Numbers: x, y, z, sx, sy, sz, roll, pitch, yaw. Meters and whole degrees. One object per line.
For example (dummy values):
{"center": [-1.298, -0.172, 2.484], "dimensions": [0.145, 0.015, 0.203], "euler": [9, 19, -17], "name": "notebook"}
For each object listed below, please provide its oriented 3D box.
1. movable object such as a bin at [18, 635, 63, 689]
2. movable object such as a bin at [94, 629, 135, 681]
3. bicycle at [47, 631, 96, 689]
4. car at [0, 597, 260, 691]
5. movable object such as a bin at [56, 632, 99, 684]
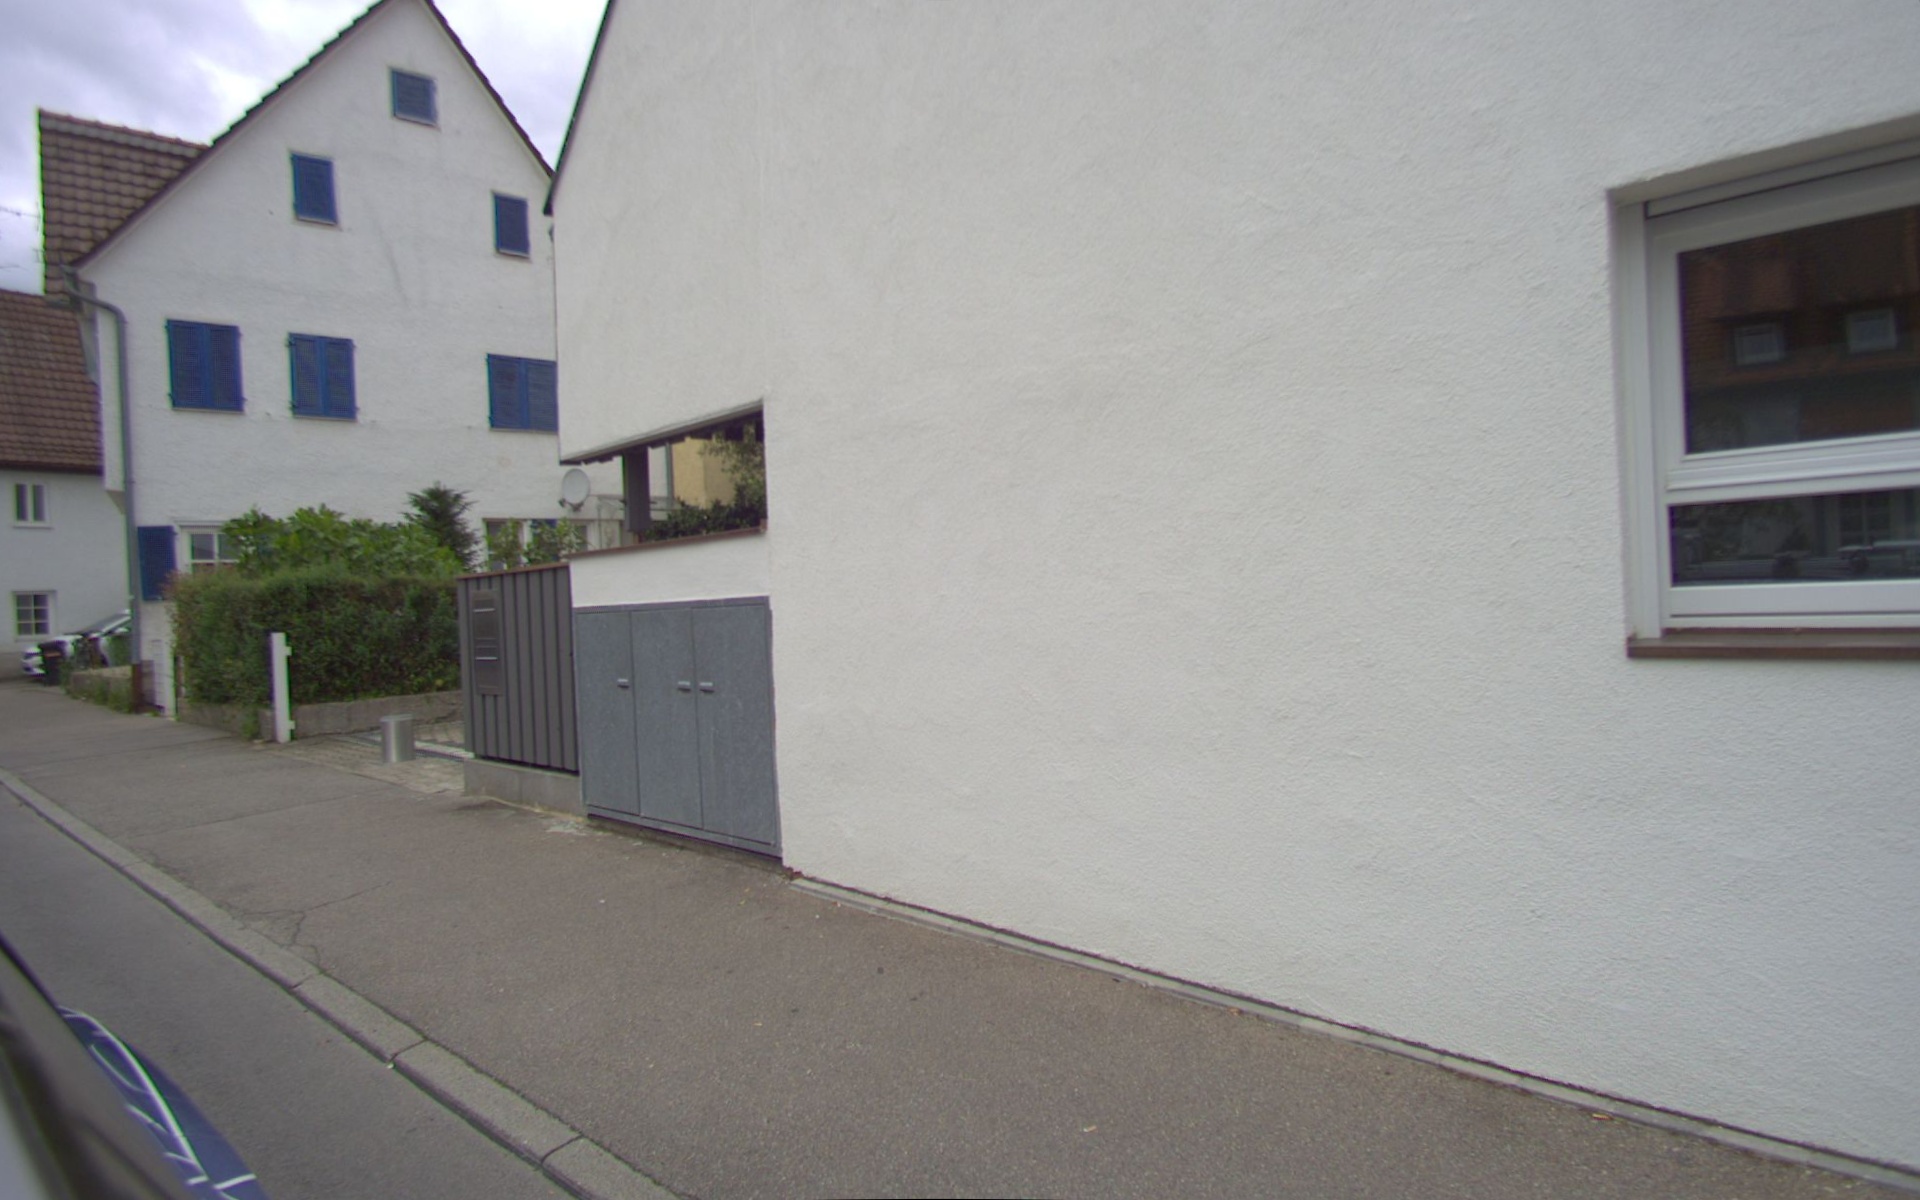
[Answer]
{"center": [-18.644, 1.256, 20.530], "dimensions": [0.546, 1.007, 0.587], "euler": [-8, 2, -39], "name": "movable object such as a bin"}
{"center": [-17.902, 1.149, 21.429], "dimensions": [0.549, 1.007, 0.623], "euler": [-10, 4, -40], "name": "movable object such as a bin"}
{"center": [-17.503, 1.161, 19.964], "dimensions": [0.437, 1.046, 2.097], "euler": [-7, 3, -36], "name": "bicycle"}
{"center": [-19.734, 0.940, 24.133], "dimensions": [1.973, 1.510, 4.502], "euler": [1, 7, 34], "name": "car"}
{"center": [-18.383, 1.209, 21.087], "dimensions": [0.562, 1.007, 0.600], "euler": [-8, 2, -41], "name": "movable object such as a bin"}
